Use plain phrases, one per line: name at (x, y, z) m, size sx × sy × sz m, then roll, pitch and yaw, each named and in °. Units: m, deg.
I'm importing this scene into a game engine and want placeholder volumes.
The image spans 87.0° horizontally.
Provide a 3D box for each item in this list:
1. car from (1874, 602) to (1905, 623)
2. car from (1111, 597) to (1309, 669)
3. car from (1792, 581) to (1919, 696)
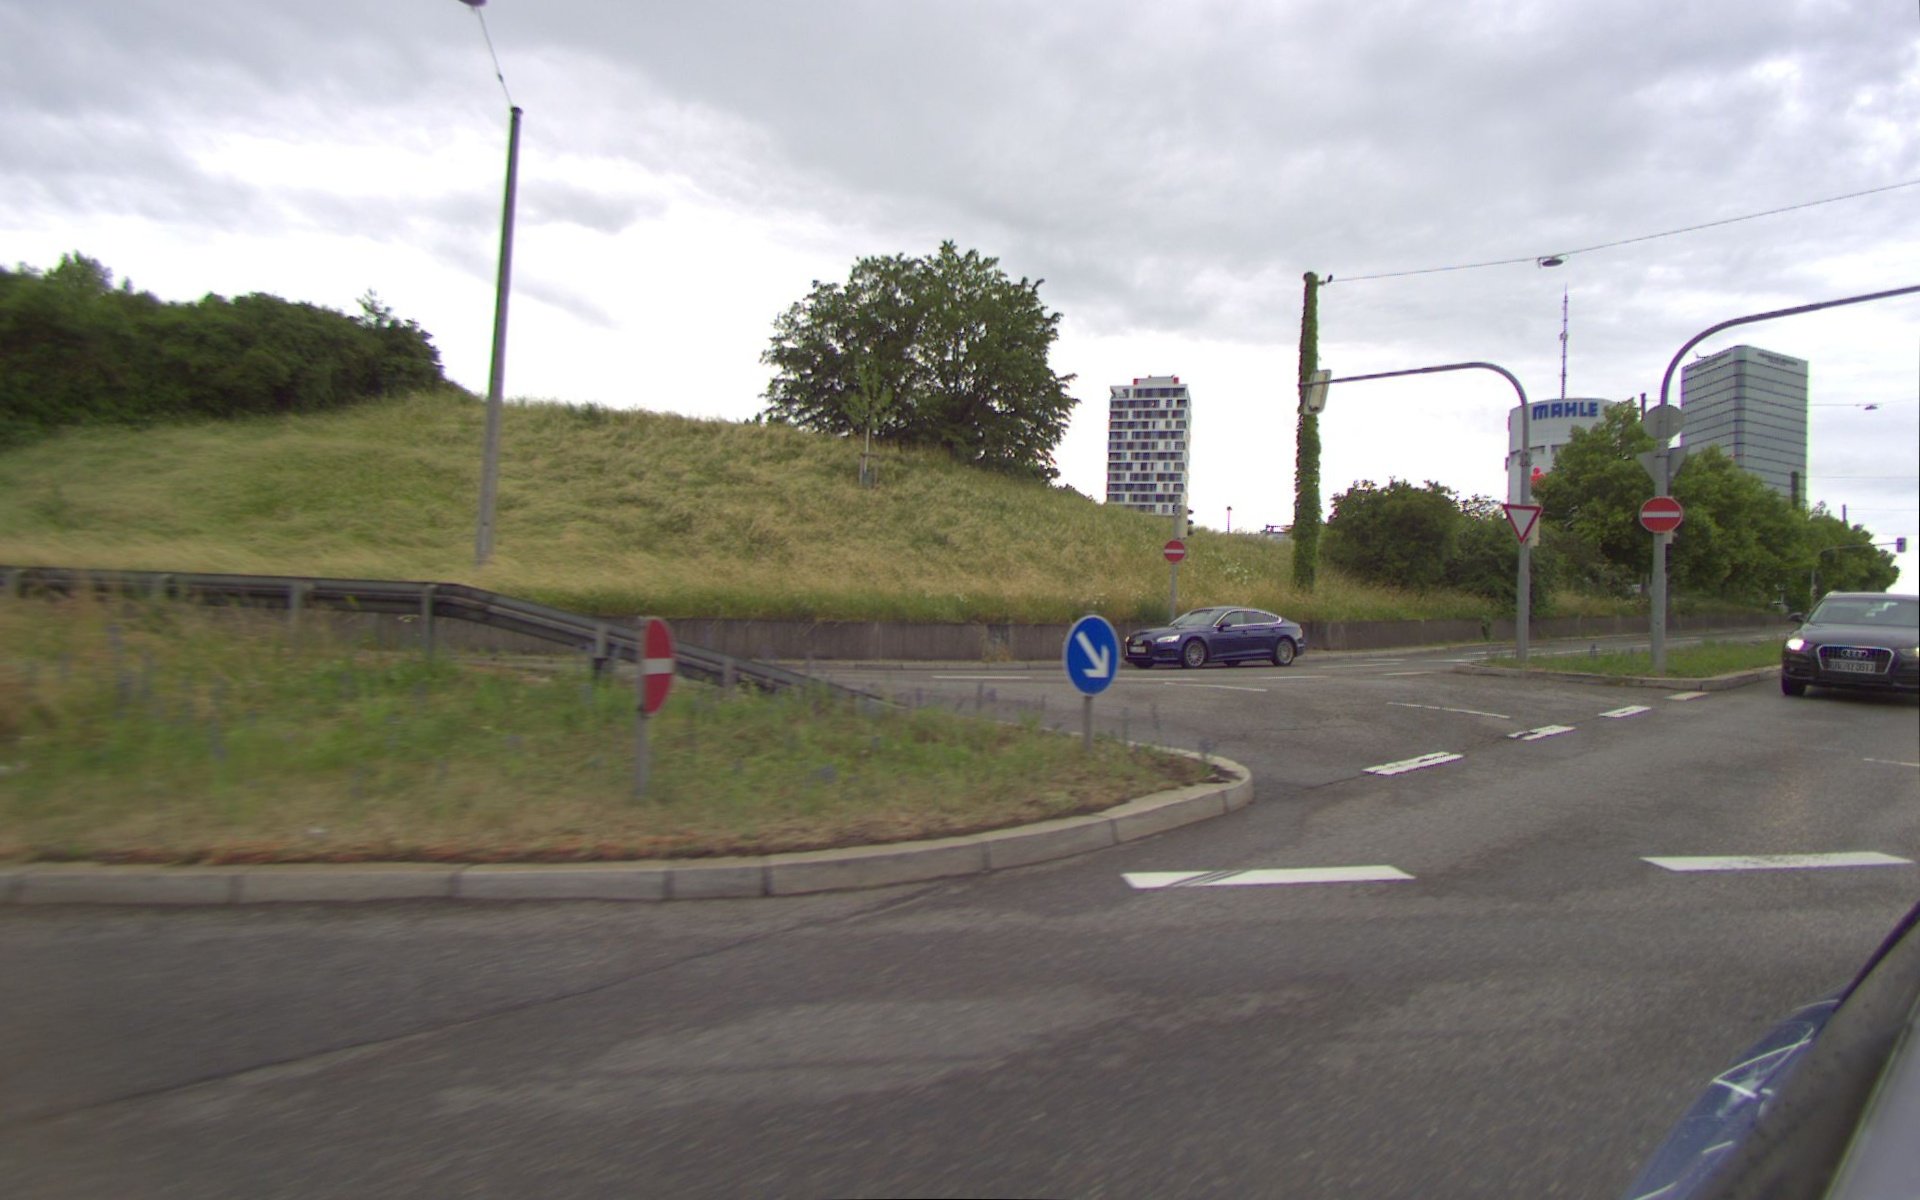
car at (72.962, 0.994, 79.494) m, size 1.629 × 1.495 × 3.622 m, roll 1°, pitch -3°, yaw 40°
car at (5.680, 0.679, 22.880) m, size 4.261 × 1.443 × 1.879 m, roll 0°, pitch 0°, yaw -30°
car at (14.236, 0.497, 15.527) m, size 4.057 × 1.553 × 1.727 m, roll -1°, pitch 1°, yaw -43°
